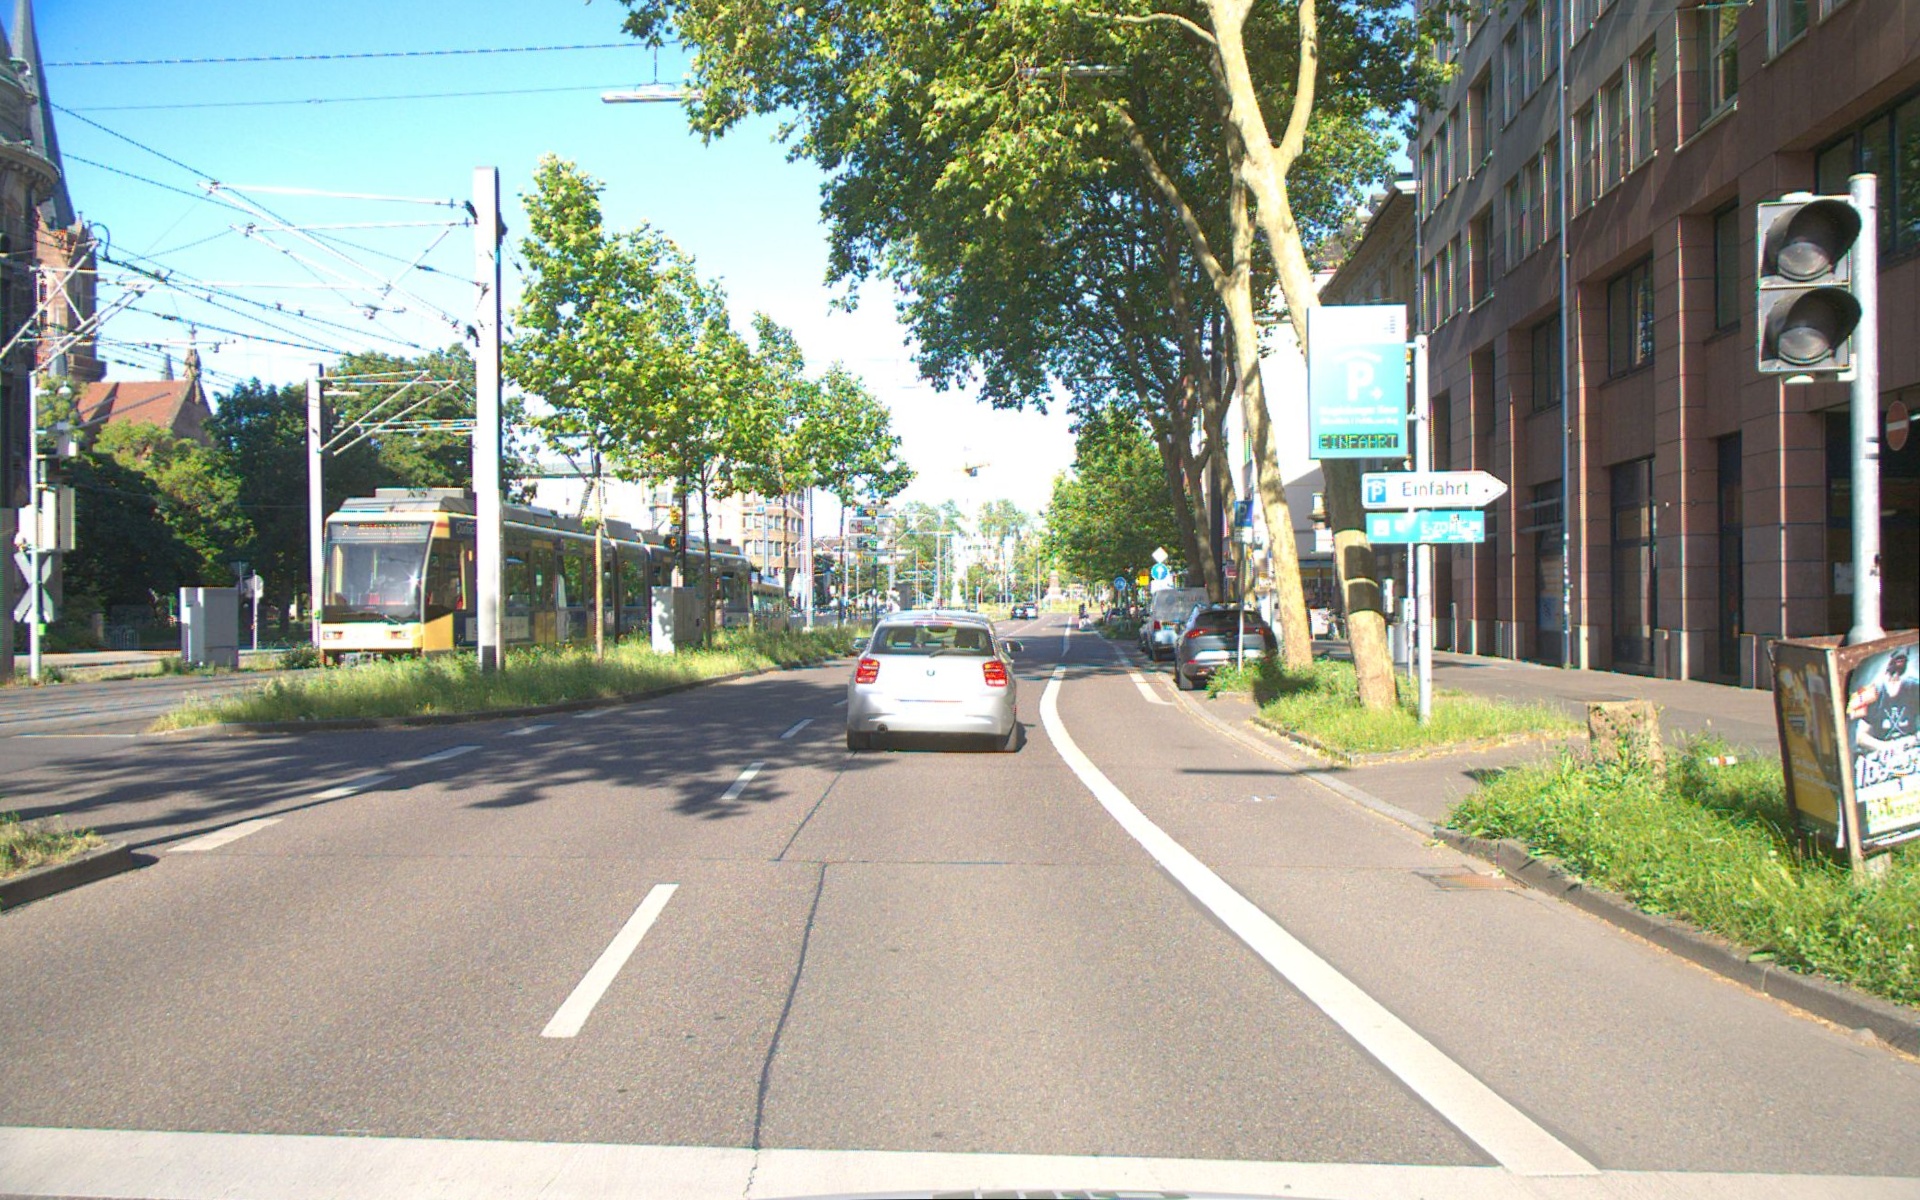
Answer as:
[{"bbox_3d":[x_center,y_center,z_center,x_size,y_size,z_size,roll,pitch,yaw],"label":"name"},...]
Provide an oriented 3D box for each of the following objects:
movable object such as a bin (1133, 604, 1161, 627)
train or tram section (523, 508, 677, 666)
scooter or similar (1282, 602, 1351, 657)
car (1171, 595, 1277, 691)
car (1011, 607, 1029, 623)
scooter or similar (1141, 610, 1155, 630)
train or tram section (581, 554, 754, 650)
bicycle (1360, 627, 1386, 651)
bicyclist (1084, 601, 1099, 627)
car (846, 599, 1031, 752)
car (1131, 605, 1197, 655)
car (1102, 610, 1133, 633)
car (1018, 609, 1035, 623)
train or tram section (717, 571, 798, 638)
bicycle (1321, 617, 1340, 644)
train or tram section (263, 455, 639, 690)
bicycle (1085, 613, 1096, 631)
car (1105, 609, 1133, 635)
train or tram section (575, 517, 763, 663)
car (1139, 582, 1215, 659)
[{"bbox_3d":[16.056,1.309,142.200,1.906,1.875,3.479,0,0,-2],"label":"movable object such as a bin"},{"bbox_3d":[-9.493,-0.315,44.033,2.893,3.965,3.868,1,-1,5],"label":"train or tram section"},{"bbox_3d":[8.280,0.692,38.439,1.508,1.259,0.449,-1,0,5],"label":"scooter or similar"},{"bbox_3d":[4.814,0.770,30.598,1.633,1.598,4.282,1,-1,5],"label":"car"},{"bbox_3d":[5.895,1.466,161.905,1.691,1.496,4.411,0,-1,2],"label":"car"},{"bbox_3d":[11.186,1.182,98.263,0.371,1.217,1.574,-1,-1,24],"label":"scooter or similar"},{"bbox_3d":[-12.222,0.143,72.325,2.902,3.545,21.223,1,0,2],"label":"train or tram section"},{"bbox_3d":[13.812,1.292,55.356,0.537,0.787,1.663,-2,-1,4],"label":"bicycle"},{"bbox_3d":[8.214,0.883,103.307,0.769,1.558,0.894,2,-1,-3],"label":"bicyclist"},{"bbox_3d":[-0.275,0.760,18.102,1.762,1.440,3.998,2,-1,-2],"label":"car"},{"bbox_3d":[6.795,0.991,55.424,1.780,1.541,4.709,1,-1,2],"label":"car"},{"bbox_3d":[10.781,1.456,113.416,1.995,1.535,4.596,0,0,4],"label":"car"},{"bbox_3d":[6.815,1.642,170.158,1.610,1.446,4.002,1,-1,4],"label":"car"},{"bbox_3d":[-11.471,0.279,94.812,2.900,3.545,11.288,1,0,1],"label":"train or tram section"},{"bbox_3d":[14.062,1.160,62.801,0.405,1.015,1.883,0,-1,4],"label":"bicycle"},{"bbox_3d":[-9.979,-0.382,35.060,2.867,3.879,14.277,1,-1,2],"label":"train or tram section"},{"bbox_3d":[8.142,1.391,103.310,0.489,1.107,1.996,1,-1,-2],"label":"bicycle"},{"bbox_3d":[10.166,1.397,105.845,1.659,1.529,3.803,-3,0,4],"label":"car"},{"bbox_3d":[-8.738,-0.212,51.339,2.890,3.965,10.808,1,-1,5],"label":"train or tram section"},{"bbox_3d":[6.113,0.580,47.076,1.817,2.049,4.726,1,-1,4],"label":"car"}]
